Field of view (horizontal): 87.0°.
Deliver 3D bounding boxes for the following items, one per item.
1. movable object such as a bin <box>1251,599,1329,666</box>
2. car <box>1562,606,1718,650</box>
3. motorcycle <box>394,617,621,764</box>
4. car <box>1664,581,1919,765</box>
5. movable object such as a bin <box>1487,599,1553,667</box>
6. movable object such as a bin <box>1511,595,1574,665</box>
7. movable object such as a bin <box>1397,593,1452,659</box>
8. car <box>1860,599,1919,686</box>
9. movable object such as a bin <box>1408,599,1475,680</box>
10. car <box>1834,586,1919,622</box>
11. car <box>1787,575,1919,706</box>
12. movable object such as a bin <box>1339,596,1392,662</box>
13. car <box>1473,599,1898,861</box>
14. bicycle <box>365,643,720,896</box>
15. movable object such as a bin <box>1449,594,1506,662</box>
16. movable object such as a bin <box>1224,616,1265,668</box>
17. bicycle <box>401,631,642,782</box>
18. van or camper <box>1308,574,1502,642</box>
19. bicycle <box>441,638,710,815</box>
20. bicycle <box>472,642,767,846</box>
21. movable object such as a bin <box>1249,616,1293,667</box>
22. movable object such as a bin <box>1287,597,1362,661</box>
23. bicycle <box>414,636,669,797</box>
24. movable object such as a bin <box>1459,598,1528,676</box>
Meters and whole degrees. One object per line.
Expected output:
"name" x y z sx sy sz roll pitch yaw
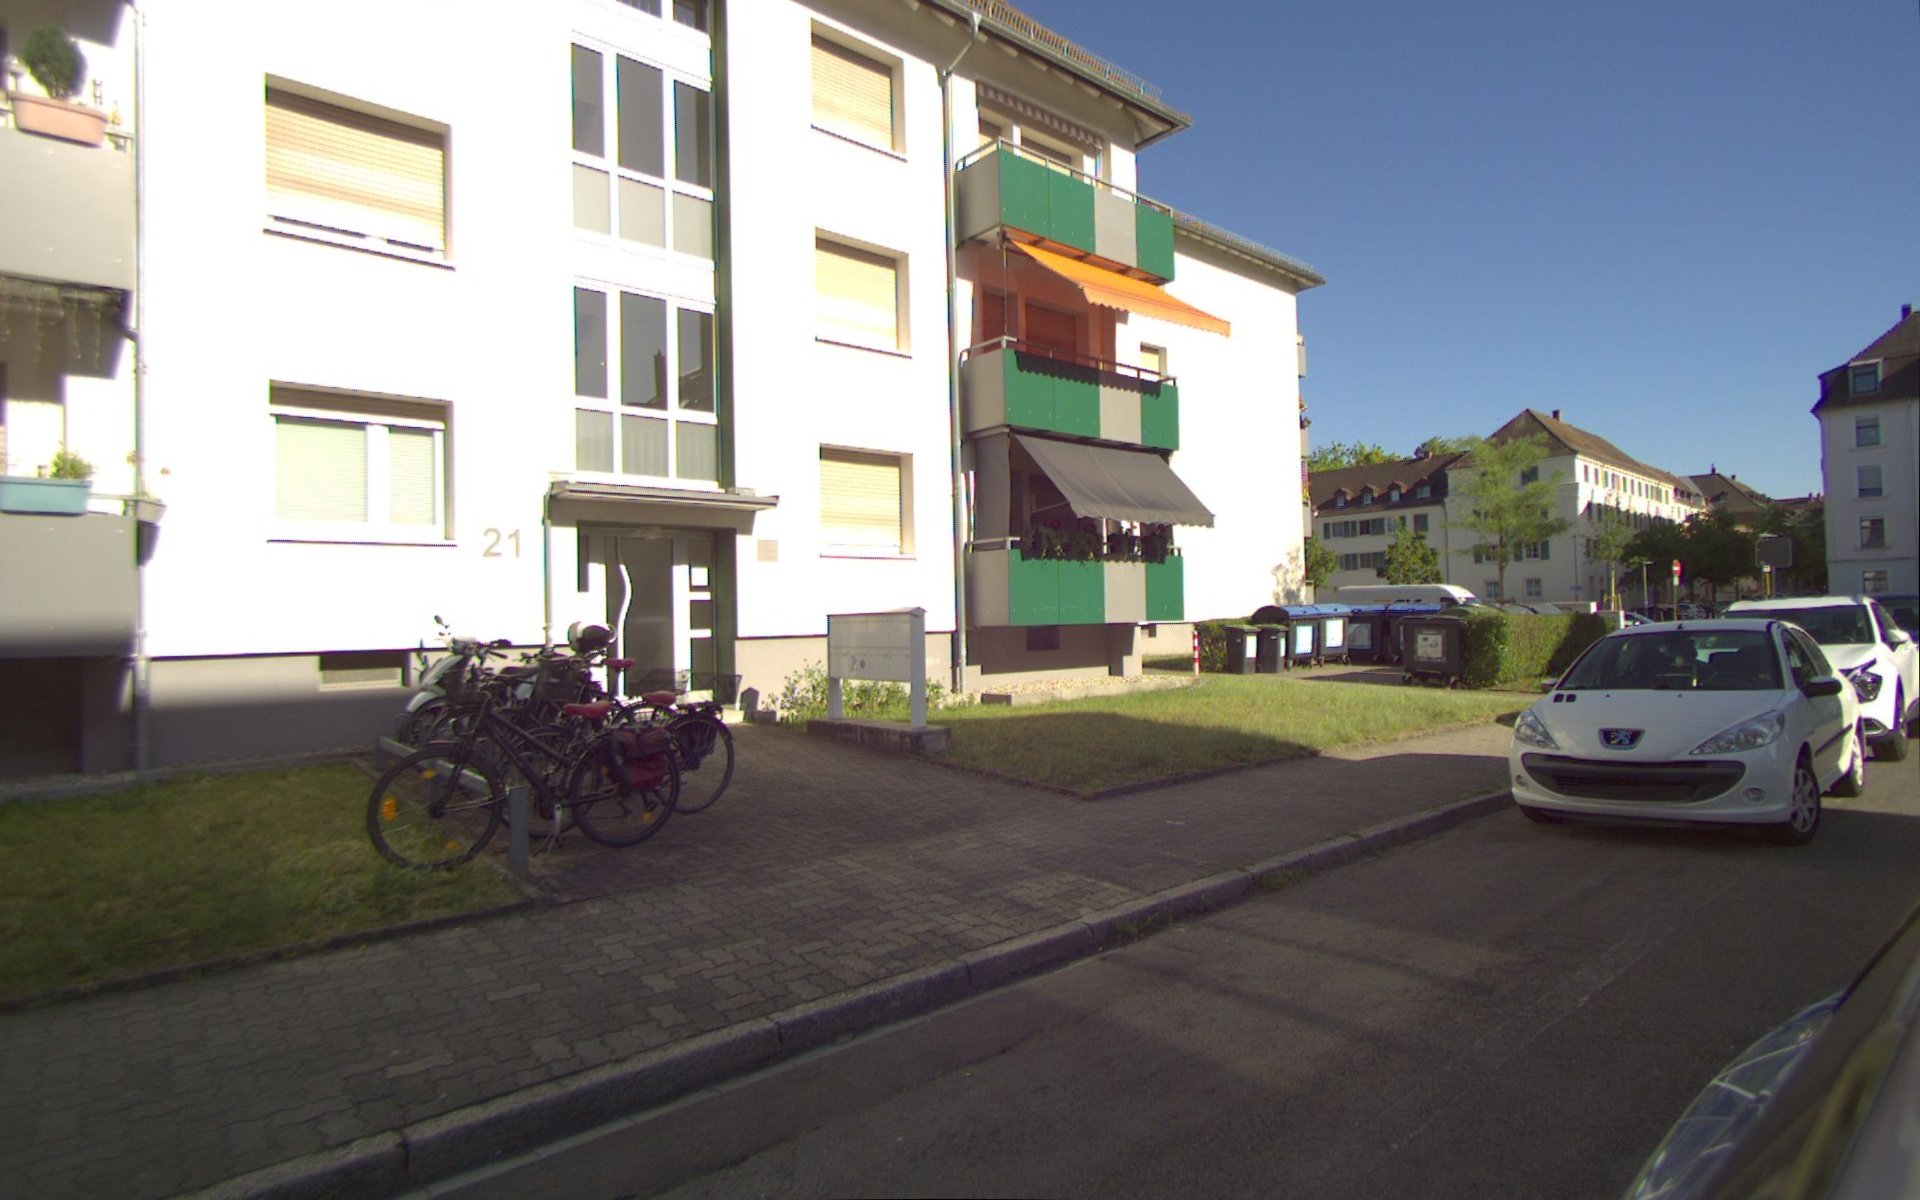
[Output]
"movable object such as a bin" 7.526 0.712 23.077 1.257 1.466 1.237 0 -1 -43
"car" 22.728 0.897 33.953 1.769 1.367 3.996 0 0 -39
"motorcycle" -4.278 0.808 9.680 1.942 1.254 0.442 0 -1 -41
"car" 9.470 0.672 11.109 4.503 1.613 1.802 0 -3 -42
"movable object such as a bin" 11.284 0.651 20.392 0.852 1.342 0.920 0 -1 -42
"movable object such as a bin" 12.192 0.617 21.184 0.852 1.416 0.920 0 -1 -42
"movable object such as a bin" 10.618 0.577 23.129 0.907 1.466 0.864 0 -1 -45
"car" 18.843 0.750 19.542 3.885 1.557 1.725 0 -4 -43
"movable object such as a bin" 9.046 0.725 19.001 0.907 1.466 0.864 0 -1 -45
"car" 39.030 0.169 43.200 1.656 1.459 3.767 -1 0 26
"car" 14.684 0.586 15.907 4.181 1.824 1.852 0 -5 -42
"movable object such as a bin" 9.751 0.682 24.347 0.906 1.539 0.865 0 -1 -42
"car" 5.621 0.775 7.644 4.027 1.437 1.692 0 -4 -42
"bicycle" -2.364 0.889 5.892 1.839 1.185 0.545 0 0 -40
"movable object such as a bin" 11.445 0.606 22.377 0.907 1.466 0.864 0 -1 -45
"movable object such as a bin" 6.151 0.906 21.873 0.570 1.066 0.627 0 1 -43
"bicycle" -3.766 0.861 8.799 1.840 1.130 0.597 0 -1 -42
"van or camper" 17.735 0.330 40.796 2.137 2.532 6.979 0 -1 -38
"bicycle" -2.859 0.886 7.672 1.840 1.135 0.544 0 0 -42
"bicycle" -2.270 0.898 6.920 1.840 1.147 0.578 0 0 -42
"movable object such as a bin" 6.821 0.899 22.166 0.570 1.066 0.717 0 1 -43
"movable object such as a bin" 8.616 0.669 23.933 1.257 1.466 1.237 0 -1 -43
"bicycle" -3.341 0.880 8.204 1.840 1.096 0.539 0 1 -42
"movable object such as a bin" 10.341 0.700 19.615 0.852 1.466 0.920 0 -1 -42
